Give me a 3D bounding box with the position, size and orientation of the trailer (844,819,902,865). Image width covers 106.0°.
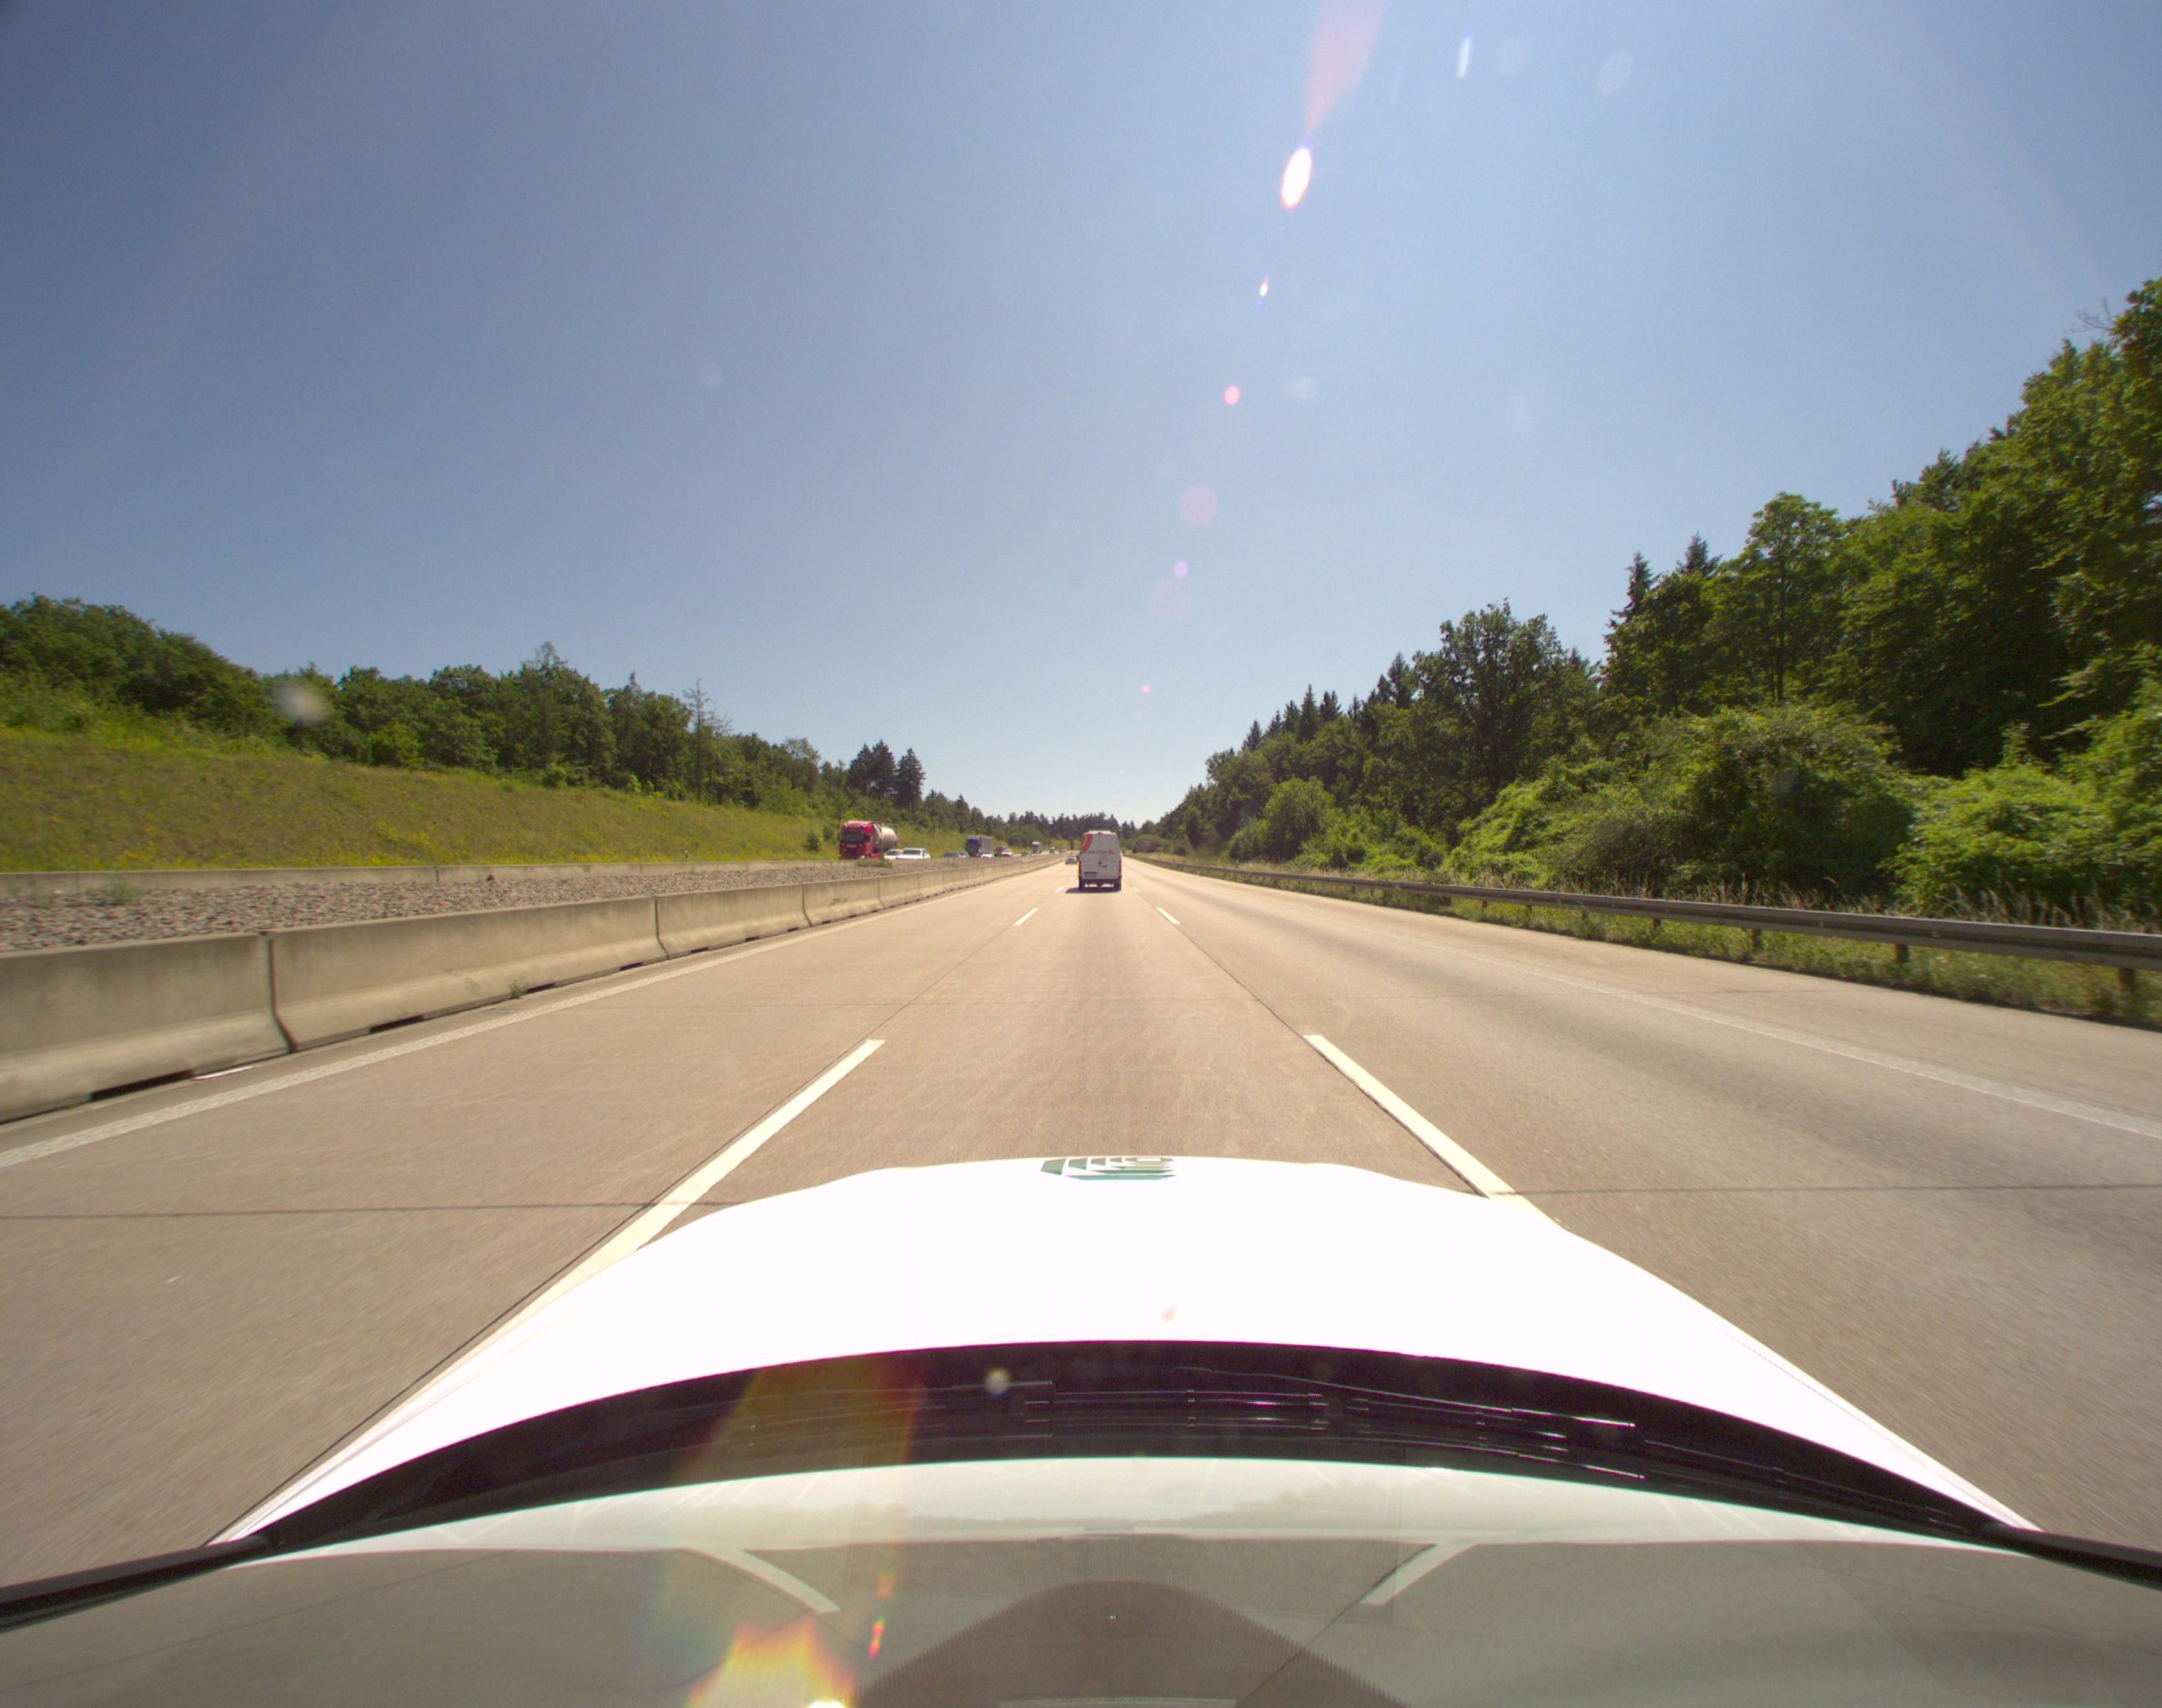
[{"bbox_3d":[-20.134,-1.074,79.552,2.922,4.169,9.337,1,0,1],"label":"trailer"}]

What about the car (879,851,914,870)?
[{"bbox_3d":[-15.928,0.555,70.456,1.986,1.583,4.181,1,0,1],"label":"car"}]

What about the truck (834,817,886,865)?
[{"bbox_3d":[-20.261,-1.099,74.859,2.923,4.169,5.984,1,0,1],"label":"truck"}]

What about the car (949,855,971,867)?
[{"bbox_3d":[-15.670,0.904,105.572,1.986,1.583,4.431,1,0,1],"label":"car"}]

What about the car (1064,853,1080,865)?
[{"bbox_3d":[-1.403,0.713,122.840,1.984,1.684,4.006,1,0,5],"label":"car"}]

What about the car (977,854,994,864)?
[{"bbox_3d":[-15.062,0.802,129.108,1.986,1.583,4.531,1,0,1],"label":"car"}]

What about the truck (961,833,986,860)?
[{"bbox_3d":[-18.796,-1.223,142.877,3.246,4.504,6.574,1,0,0],"label":"truck"}]

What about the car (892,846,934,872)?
[{"bbox_3d":[-12.619,0.397,61.624,1.986,1.873,4.970,1,0,1],"label":"car"}]

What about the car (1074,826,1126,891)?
[{"bbox_3d":[0.880,0.175,38.595,2.219,2.844,5.455,1,0,1],"label":"car"}]

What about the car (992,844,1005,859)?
[{"bbox_3d":[-17.975,-0.566,178.227,1.986,3.241,7.061,1,0,1],"label":"car"}]

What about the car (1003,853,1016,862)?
[{"bbox_3d":[-13.719,0.707,156.409,1.986,1.583,5.520,1,0,2],"label":"car"}]

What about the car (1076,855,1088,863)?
[{"bbox_3d":[0.250,0.999,166.685,1.984,1.684,4.006,1,0,5],"label":"car"}]
